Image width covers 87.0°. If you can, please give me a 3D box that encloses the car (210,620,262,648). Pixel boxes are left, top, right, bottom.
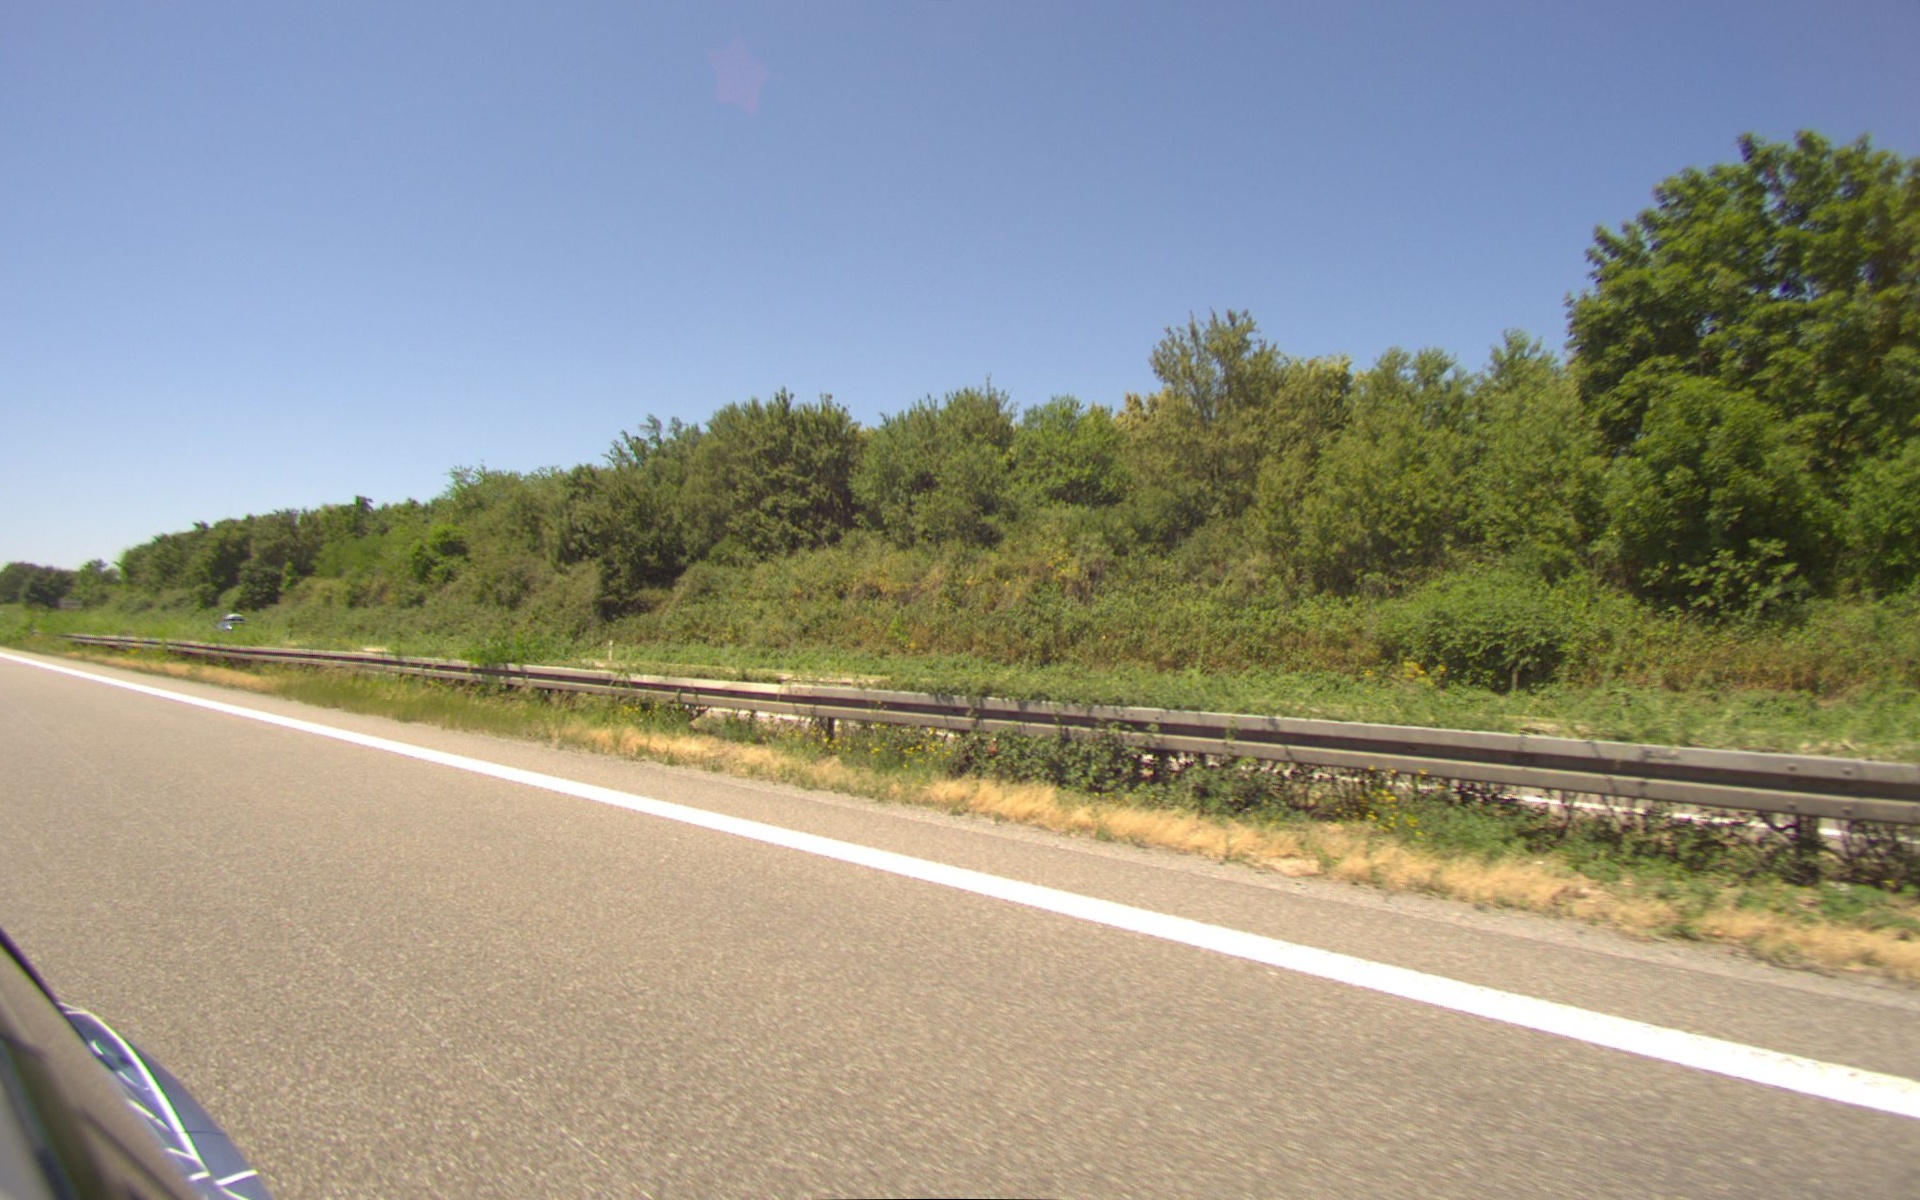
[{"bbox_3d":[-51.195,2.401,71.534,4.301,1.929,1.973,-1,-2,41],"label":"car"}]
